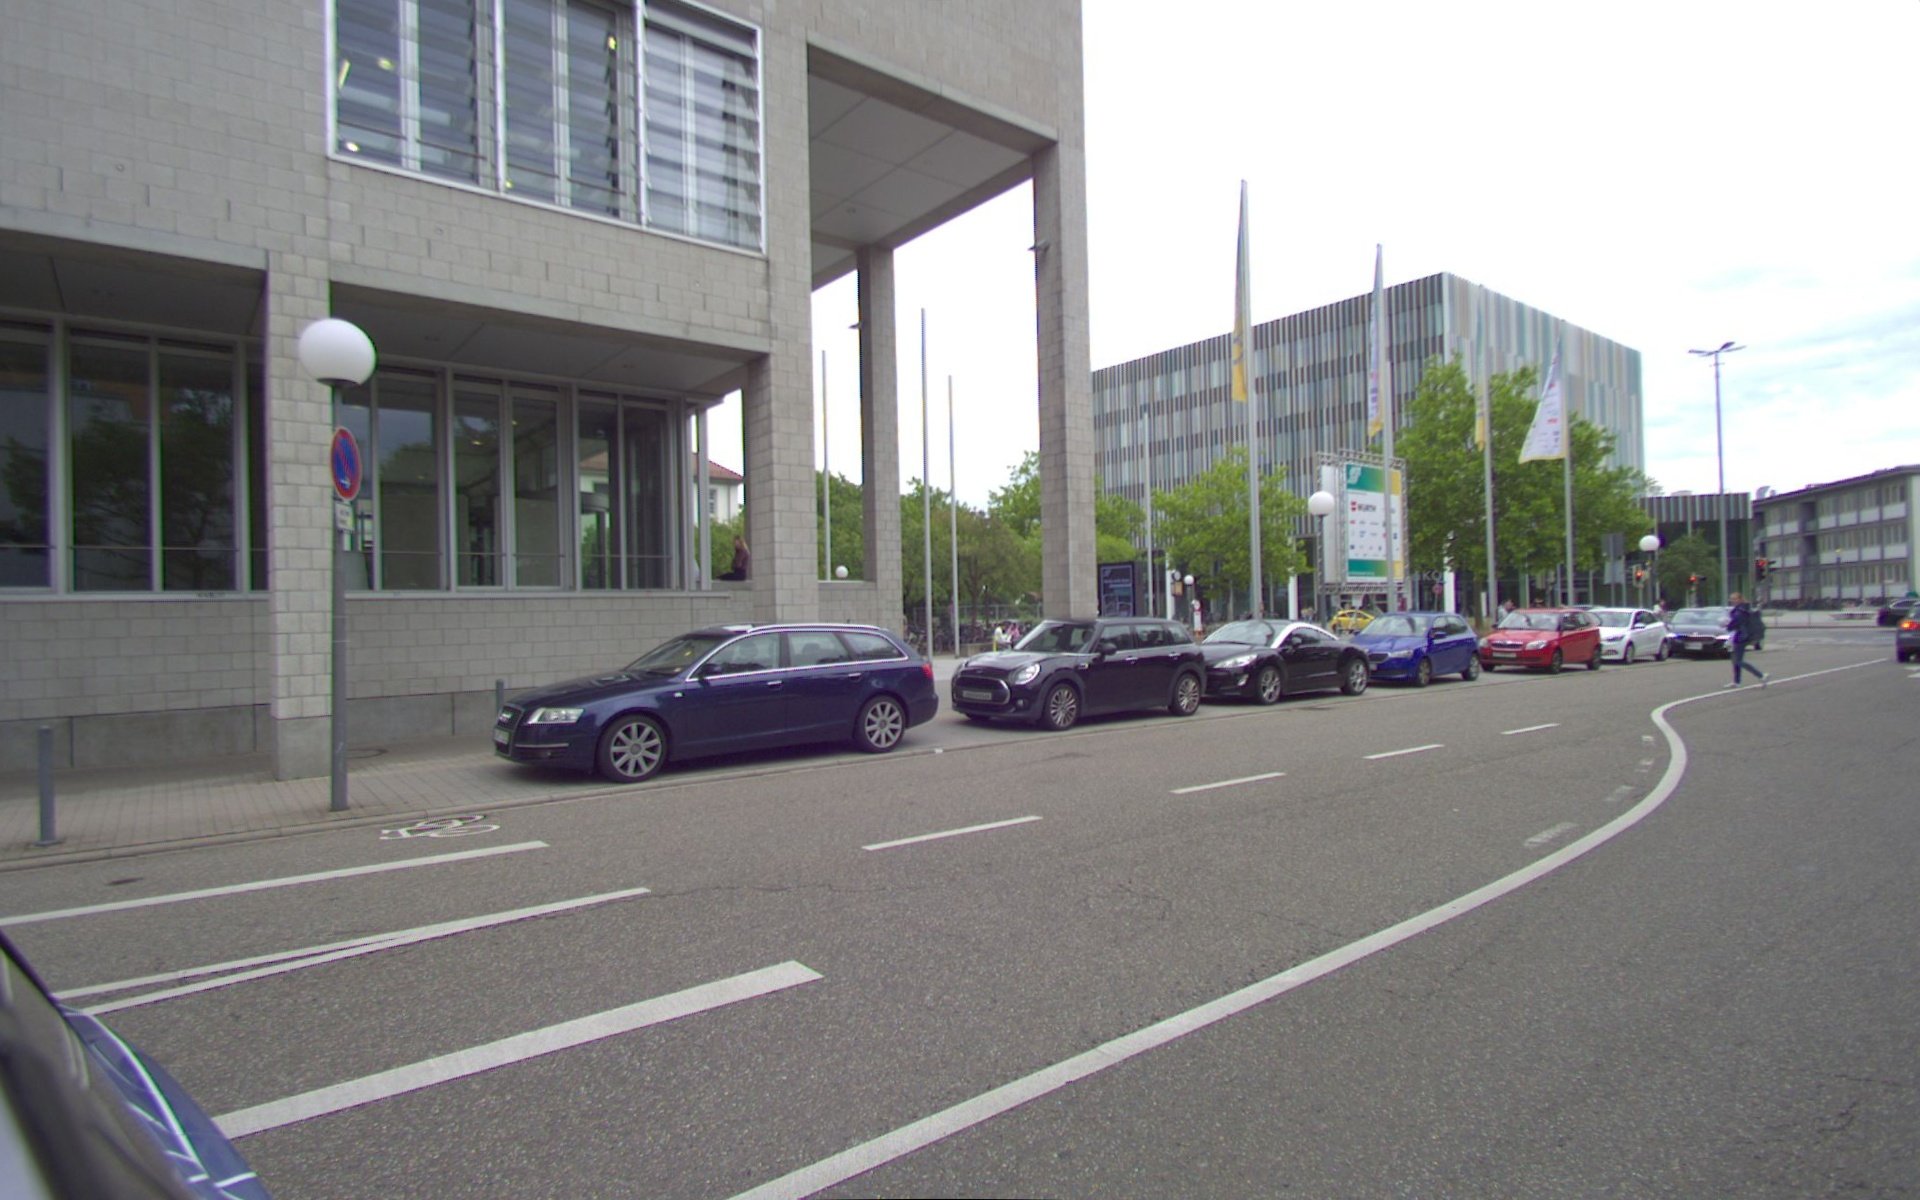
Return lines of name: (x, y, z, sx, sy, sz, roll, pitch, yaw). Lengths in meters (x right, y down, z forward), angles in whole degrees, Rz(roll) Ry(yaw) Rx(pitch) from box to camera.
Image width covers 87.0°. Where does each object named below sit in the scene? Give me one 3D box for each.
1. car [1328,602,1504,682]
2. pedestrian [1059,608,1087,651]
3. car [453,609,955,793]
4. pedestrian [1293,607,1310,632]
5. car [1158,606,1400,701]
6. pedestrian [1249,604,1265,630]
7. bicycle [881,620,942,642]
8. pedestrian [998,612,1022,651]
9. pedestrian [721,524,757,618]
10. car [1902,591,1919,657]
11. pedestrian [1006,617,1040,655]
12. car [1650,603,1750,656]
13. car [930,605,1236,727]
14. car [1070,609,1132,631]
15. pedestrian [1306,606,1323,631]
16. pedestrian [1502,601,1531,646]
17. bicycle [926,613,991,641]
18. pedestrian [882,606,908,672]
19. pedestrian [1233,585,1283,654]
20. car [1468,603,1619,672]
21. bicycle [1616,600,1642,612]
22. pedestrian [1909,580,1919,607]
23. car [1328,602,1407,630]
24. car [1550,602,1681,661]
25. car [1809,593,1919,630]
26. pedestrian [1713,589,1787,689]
car: (9.484, 0.800, 20.885, 4.309, 1.422, 1.703, -1, 0, -42)
pedestrian: (4.637, 1.189, 41.384, 0.848, 1.717, 0.960, -1, -1, 28)
car: (-2.581, 0.899, 10.906, 4.844, 1.463, 2.004, -1, -1, -39)
pedestrian: (28.627, 1.634, 84.750, 0.841, 2.029, 1.004, 2, -4, -30)
car: (5.607, 0.883, 17.570, 4.347, 1.453, 1.858, 1, -3, -38)
pedestrian: (23.807, 1.406, 81.017, 0.855, 2.029, 0.987, -3, -4, 41)
bicycle: (-2.712, 1.741, 56.472, 3.337, 1.179, 1.058, 2, -4, -33)
pedestrian: (1.880, 1.198, 38.295, 0.668, 1.424, 0.764, -2, -1, 20)
pedestrian: (-4.126, -0.520, 18.898, 0.621, 1.671, 0.809, 0, -3, -14)
car: (23.943, 0.507, 23.984, 4.101, 1.508, 1.792, -1, -1, -39)
pedestrian: (2.438, 1.375, 39.128, 0.852, 1.431, 0.956, -3, -2, 40)
car: (22.039, 0.867, 30.304, 1.859, 1.412, 4.432, -4, -3, 30)
car: (1.874, 0.820, 14.532, 4.449, 1.454, 1.827, -1, 0, -40)
car: (11.439, 1.643, 82.176, 1.969, 1.675, 4.847, 0, -2, -40)
pedestrian: (29.268, 1.563, 83.592, 0.841, 2.029, 1.004, 2, -4, -30)
pedestrian: (21.595, 0.920, 39.269, 0.667, 1.728, 0.675, -1, -1, -30)
bicycle: (-0.033, 1.192, 45.327, 3.057, 1.179, 0.749, -1, -1, -37)
pedestrian: (-1.710, 1.046, 26.776, 0.638, 1.726, 0.782, 0, -4, -1)
pedestrian: (7.304, 0.503, 24.780, 0.916, 1.653, 0.738, 2, -4, -36)
car: (13.988, 0.822, 24.170, 4.205, 1.484, 1.721, 0, 1, -39)
bicycle: (51.724, 0.458, 78.289, 0.476, 0.943, 2.013, -2, 0, -7)
pedestrian: (64.180, -0.449, 67.516, 0.935, 1.727, 0.909, -2, -1, -25)
car: (25.752, 1.035, 64.015, 1.968, 1.630, 4.202, -1, -1, -39)
car: (17.949, 0.838, 27.678, 3.797, 1.464, 1.870, -1, -1, -39)
car: (39.916, 0.499, 43.956, 1.968, 1.500, 4.300, -1, -1, -39)
pedestrian: (13.711, 0.665, 17.568, 0.952, 1.674, 0.743, 1, -1, -35)
